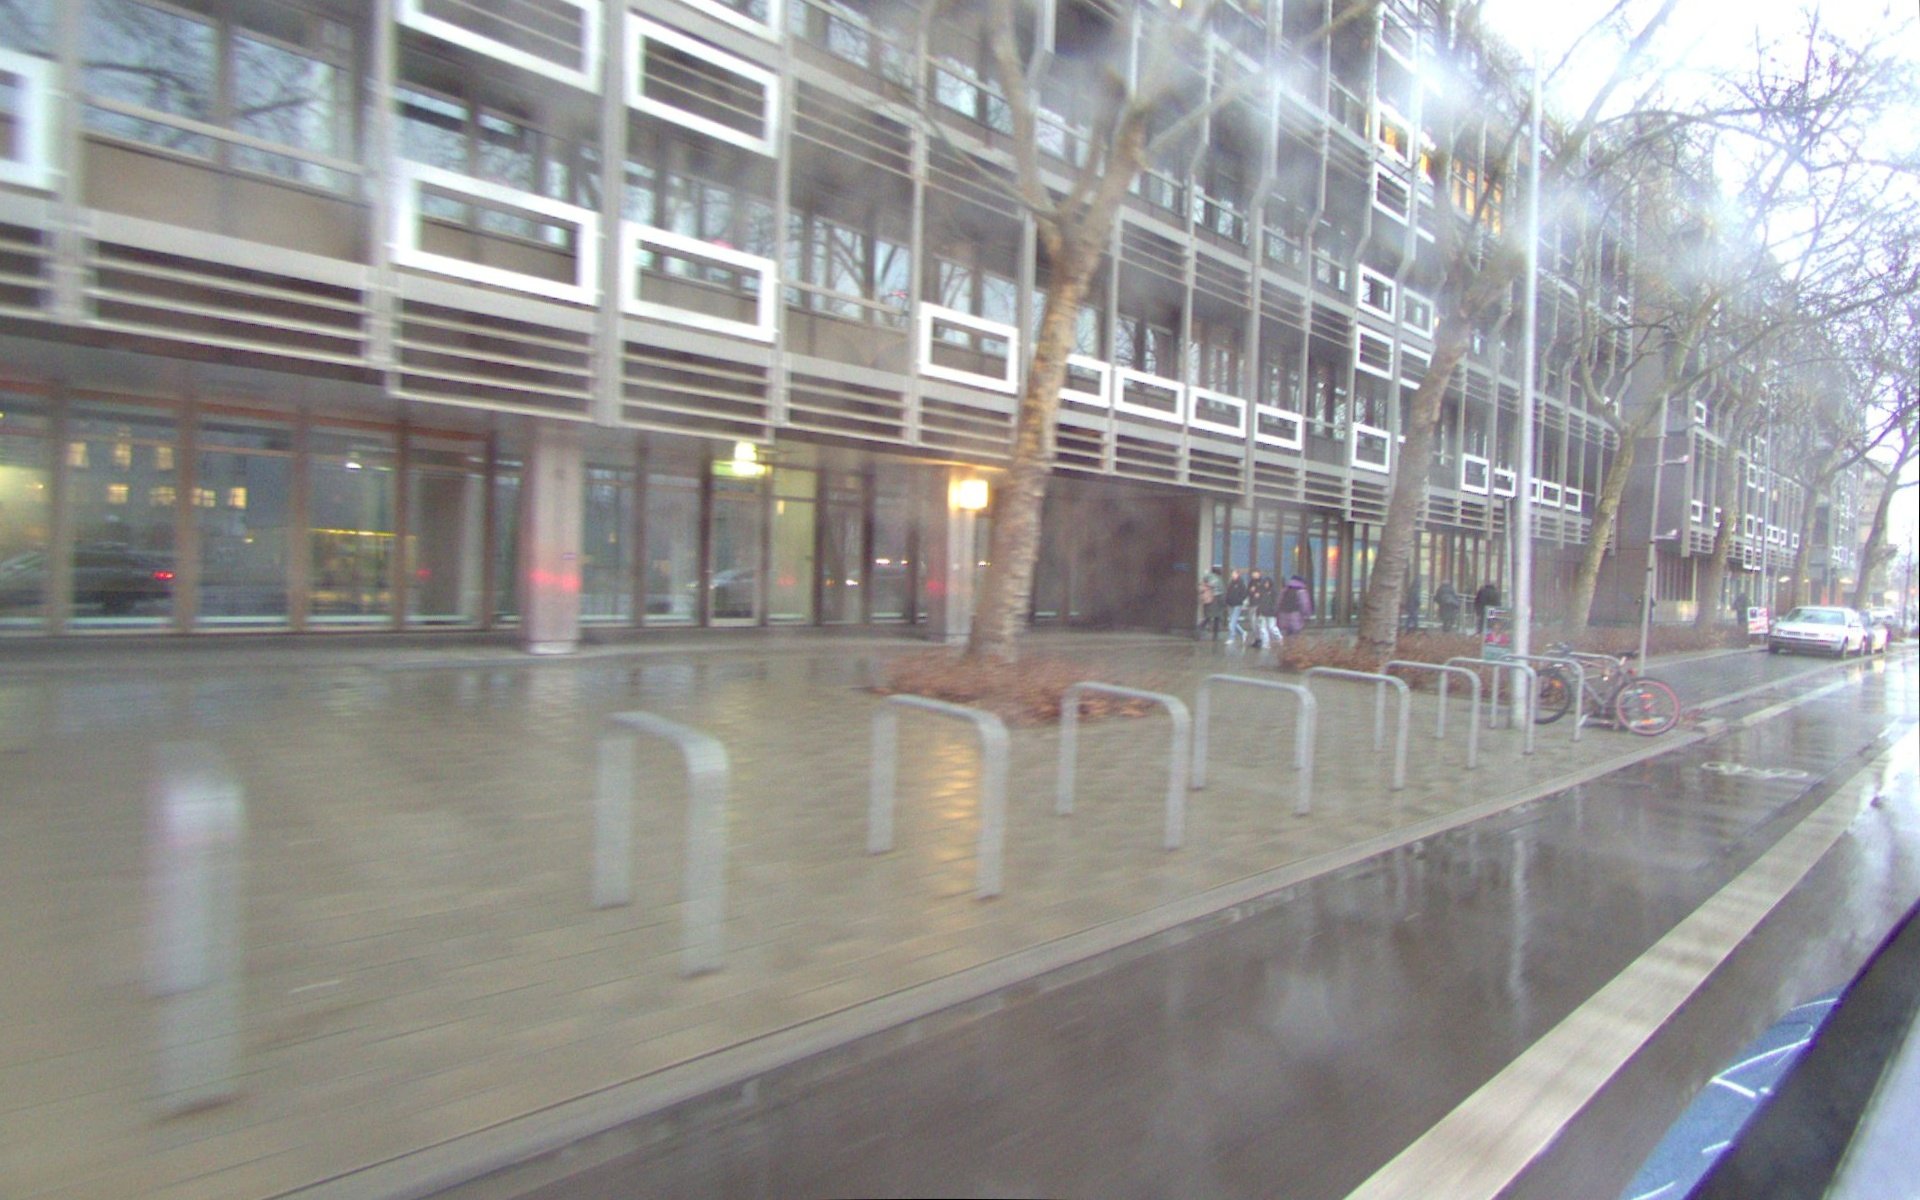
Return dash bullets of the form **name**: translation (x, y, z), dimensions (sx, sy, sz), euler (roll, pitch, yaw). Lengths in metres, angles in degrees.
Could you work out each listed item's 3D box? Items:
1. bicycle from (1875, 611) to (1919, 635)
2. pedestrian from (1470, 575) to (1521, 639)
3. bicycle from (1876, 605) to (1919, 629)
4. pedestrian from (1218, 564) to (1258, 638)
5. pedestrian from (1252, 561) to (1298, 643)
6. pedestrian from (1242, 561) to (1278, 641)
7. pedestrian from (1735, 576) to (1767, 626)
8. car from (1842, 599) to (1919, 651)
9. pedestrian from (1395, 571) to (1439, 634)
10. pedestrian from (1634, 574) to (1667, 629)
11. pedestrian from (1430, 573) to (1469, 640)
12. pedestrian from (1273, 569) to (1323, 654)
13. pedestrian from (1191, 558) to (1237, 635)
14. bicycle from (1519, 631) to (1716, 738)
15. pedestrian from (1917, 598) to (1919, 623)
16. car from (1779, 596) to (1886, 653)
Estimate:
- **bicycle**: translation (43.120, 1.066, 46.558), dimensions (1.518, 1.049, 0.462), euler (1, 0, 43)
- **pedestrian**: translation (13.448, 0.172, 25.415), dimensions (0.823, 1.543, 0.866), euler (1, 1, -40)
- **bicycle**: translation (42.226, 0.774, 45.500), dimensions (1.518, 1.049, 0.462), euler (1, 0, 43)
- **pedestrian**: translation (6.095, 0.020, 22.155), dimensions (0.732, 1.584, 0.484), euler (1, 1, -41)
- **pedestrian**: translation (6.641, 0.041, 21.329), dimensions (0.857, 1.689, 0.501), euler (1, 1, -40)
- **pedestrian**: translation (6.443, 0.010, 21.741), dimensions (0.701, 1.689, 0.379), euler (1, 1, -40)
- **pedestrian**: translation (32.859, 0.031, 42.044), dimensions (1.006, 2.039, 0.790), euler (1, 1, -41)
- **car**: translation (31.046, 0.811, 33.862), dimensions (3.948, 1.567, 1.763), euler (1, 1, -41)
- **pedestrian**: translation (12.368, 0.058, 27.408), dimensions (0.826, 1.675, 0.642), euler (1, 1, -7)
- **pedestrian**: translation (26.273, 0.058, 38.515), dimensions (0.723, 2.039, 0.821), euler (1, 1, -42)
- **pedestrian**: translation (13.069, 0.158, 27.011), dimensions (0.659, 1.739, 0.829), euler (2, 1, 45)
- **pedestrian**: translation (6.388, 0.207, 19.126), dimensions (0.604, 1.563, 0.649), euler (1, 1, -39)
- **pedestrian**: translation (5.681, -0.086, 22.633), dimensions (0.766, 1.677, 0.617), euler (1, 1, -40)
- **bicycle**: translation (7.572, 0.936, 11.727), dimensions (0.607, 0.986, 1.789), euler (0, 3, -44)
- **pedestrian**: translation (81.080, 0.898, 85.096), dimensions (0.758, 2.039, 0.837), euler (0, 0, -41)
- **car**: translation (25.593, 0.682, 29.660), dimensions (3.858, 1.449, 1.609), euler (0, 4, -39)
